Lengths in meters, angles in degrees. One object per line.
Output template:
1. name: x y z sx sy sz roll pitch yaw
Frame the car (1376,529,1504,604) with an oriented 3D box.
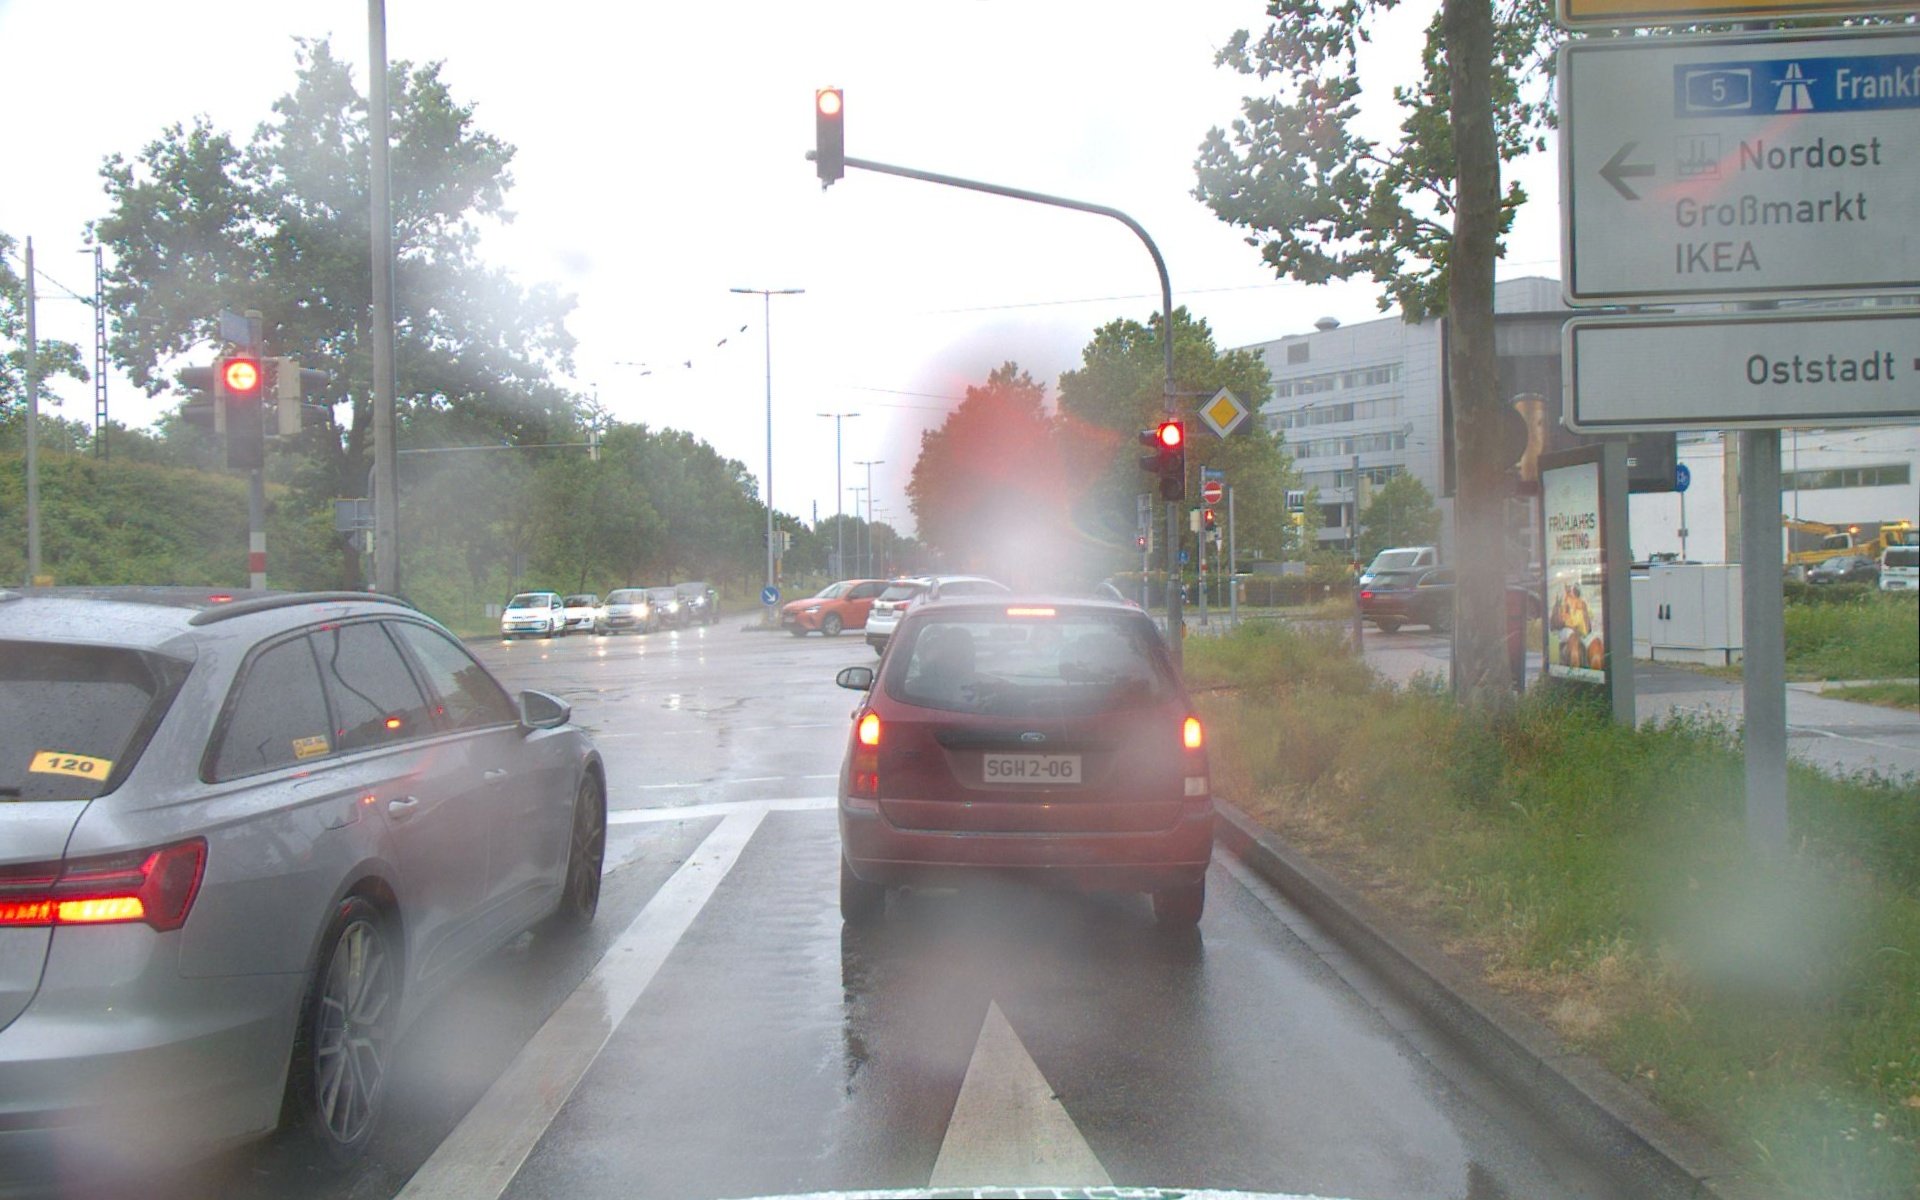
1. car: 16.088 -1.132 55.405 4.339 2.228 1.779 -4 2 -36

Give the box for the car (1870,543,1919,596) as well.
1. car: 30.032 -0.949 50.703 4.327 1.564 1.784 -1 0 -30

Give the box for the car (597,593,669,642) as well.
1. car: -11.137 0.558 56.584 1.678 1.556 3.999 -1 0 -1

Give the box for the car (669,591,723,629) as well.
1. car: -11.291 0.395 70.961 1.678 1.556 3.999 -1 0 -1

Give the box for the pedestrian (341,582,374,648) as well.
1. pedestrian: -16.736 0.406 45.946 0.522 1.817 0.673 0 -1 16

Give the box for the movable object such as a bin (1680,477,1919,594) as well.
1. movable object such as a bin: 53.119 -3.664 101.140 8.168 6.393 14.792 1 0 -34

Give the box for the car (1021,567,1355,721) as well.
1. car: 2.969 0.464 20.990 4.349 1.563 1.775 -4 3 -41

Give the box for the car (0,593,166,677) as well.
1. car: -17.713 0.667 31.974 3.962 1.512 1.793 -1 0 -40

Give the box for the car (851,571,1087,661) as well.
1. car: 0.187 0.265 31.127 4.012 1.547 1.978 -1 0 -33

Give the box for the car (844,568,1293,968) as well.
1. car: 0.400 0.656 8.722 1.760 1.564 4.386 1 0 -1

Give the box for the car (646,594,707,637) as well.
1. car: -10.860 0.556 63.492 1.678 1.556 3.999 -1 0 -1

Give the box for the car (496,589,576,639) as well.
1. car: -14.128 0.449 55.318 1.678 1.556 3.999 -1 0 -1

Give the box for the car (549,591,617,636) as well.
1. car: -14.056 0.482 61.858 1.678 1.556 3.999 -1 0 -1

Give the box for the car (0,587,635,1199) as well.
1. car: -2.303 0.697 5.357 1.656 1.458 4.573 0 0 -1

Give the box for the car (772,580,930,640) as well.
1. car: -2.878 0.246 44.100 3.961 1.454 1.694 -2 0 -39

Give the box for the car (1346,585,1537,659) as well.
1. car: 11.149 0.481 38.227 4.327 1.564 1.784 -1 0 -30
